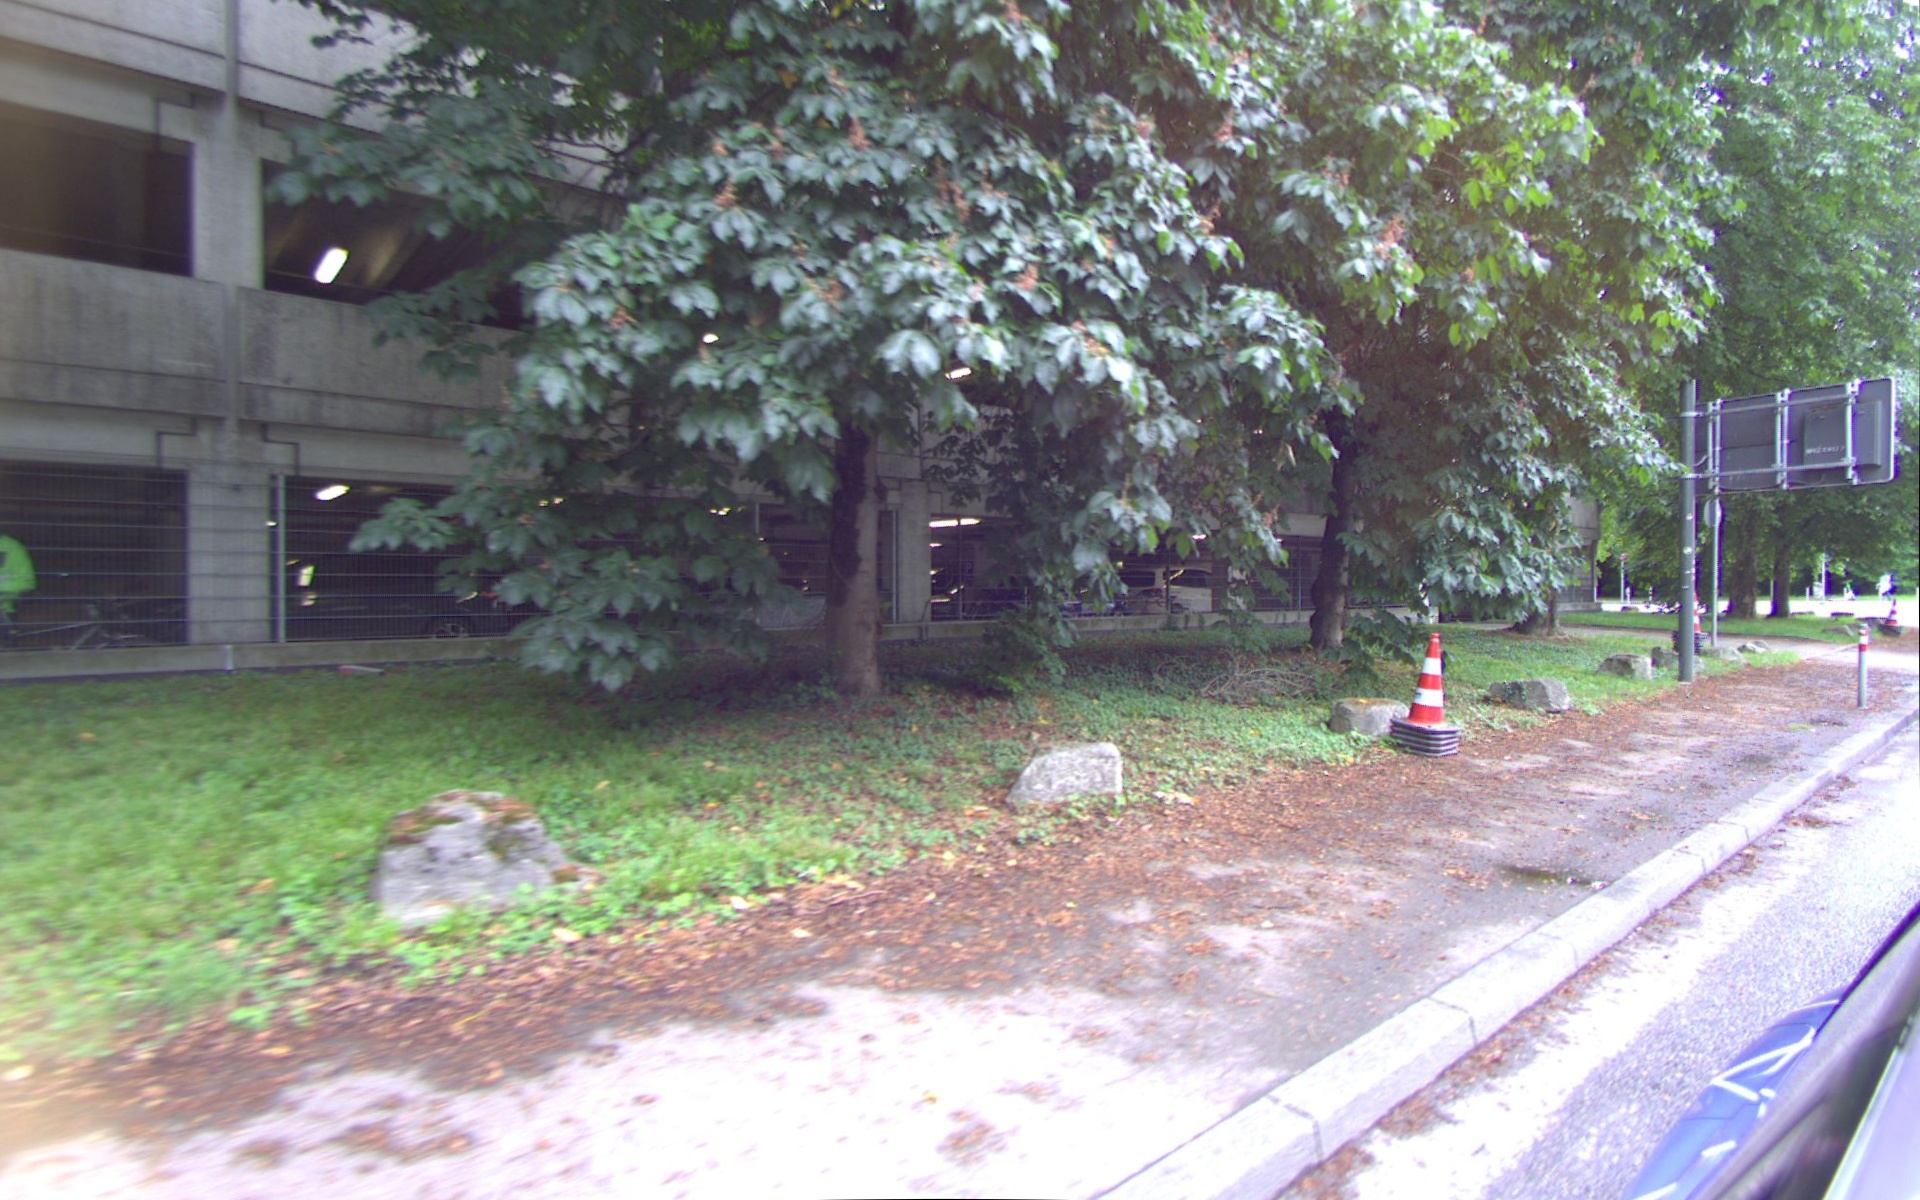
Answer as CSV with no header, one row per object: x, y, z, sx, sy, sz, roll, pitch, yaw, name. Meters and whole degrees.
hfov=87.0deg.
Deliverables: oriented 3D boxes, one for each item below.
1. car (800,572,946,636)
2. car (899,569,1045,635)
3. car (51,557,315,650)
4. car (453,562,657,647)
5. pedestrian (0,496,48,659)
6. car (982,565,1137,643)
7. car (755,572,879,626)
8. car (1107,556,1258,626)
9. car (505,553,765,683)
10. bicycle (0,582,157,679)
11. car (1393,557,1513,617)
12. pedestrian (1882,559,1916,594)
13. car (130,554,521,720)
-2.333,0.084,27.556,3.640,1.565,1.718,-3,1,-42,car
0.356,0.009,26.815,3.640,1.565,1.718,-3,1,-42,car
-15.091,0.013,19.781,3.935,1.587,1.718,-3,1,-42,car
-8.572,0.046,21.575,3.640,1.627,1.718,-3,1,-42,car
-8.193,-0.177,8.491,0.624,1.334,0.643,-2,1,-28,pedestrian
2.503,0.046,24.877,3.791,1.729,1.588,-3,1,-41,car
-4.606,-0.061,32.870,3.638,1.565,1.719,-3,1,-41,car
6.185,-0.289,27.836,4.587,1.729,1.588,-3,1,-41,car
-5.743,0.233,18.091,3.930,2.039,1.997,-3,1,-40,car
-7.666,0.247,8.416,0.446,0.745,1.474,-1,1,41,bicycle
16.342,-0.440,33.466,4.654,1.858,1.922,-1,0,-41,car
50.624,-1.271,54.557,0.911,1.856,1.201,-3,1,-37,pedestrian
-9.199,0.407,14.901,4.594,2.039,1.996,-3,1,-41,car
